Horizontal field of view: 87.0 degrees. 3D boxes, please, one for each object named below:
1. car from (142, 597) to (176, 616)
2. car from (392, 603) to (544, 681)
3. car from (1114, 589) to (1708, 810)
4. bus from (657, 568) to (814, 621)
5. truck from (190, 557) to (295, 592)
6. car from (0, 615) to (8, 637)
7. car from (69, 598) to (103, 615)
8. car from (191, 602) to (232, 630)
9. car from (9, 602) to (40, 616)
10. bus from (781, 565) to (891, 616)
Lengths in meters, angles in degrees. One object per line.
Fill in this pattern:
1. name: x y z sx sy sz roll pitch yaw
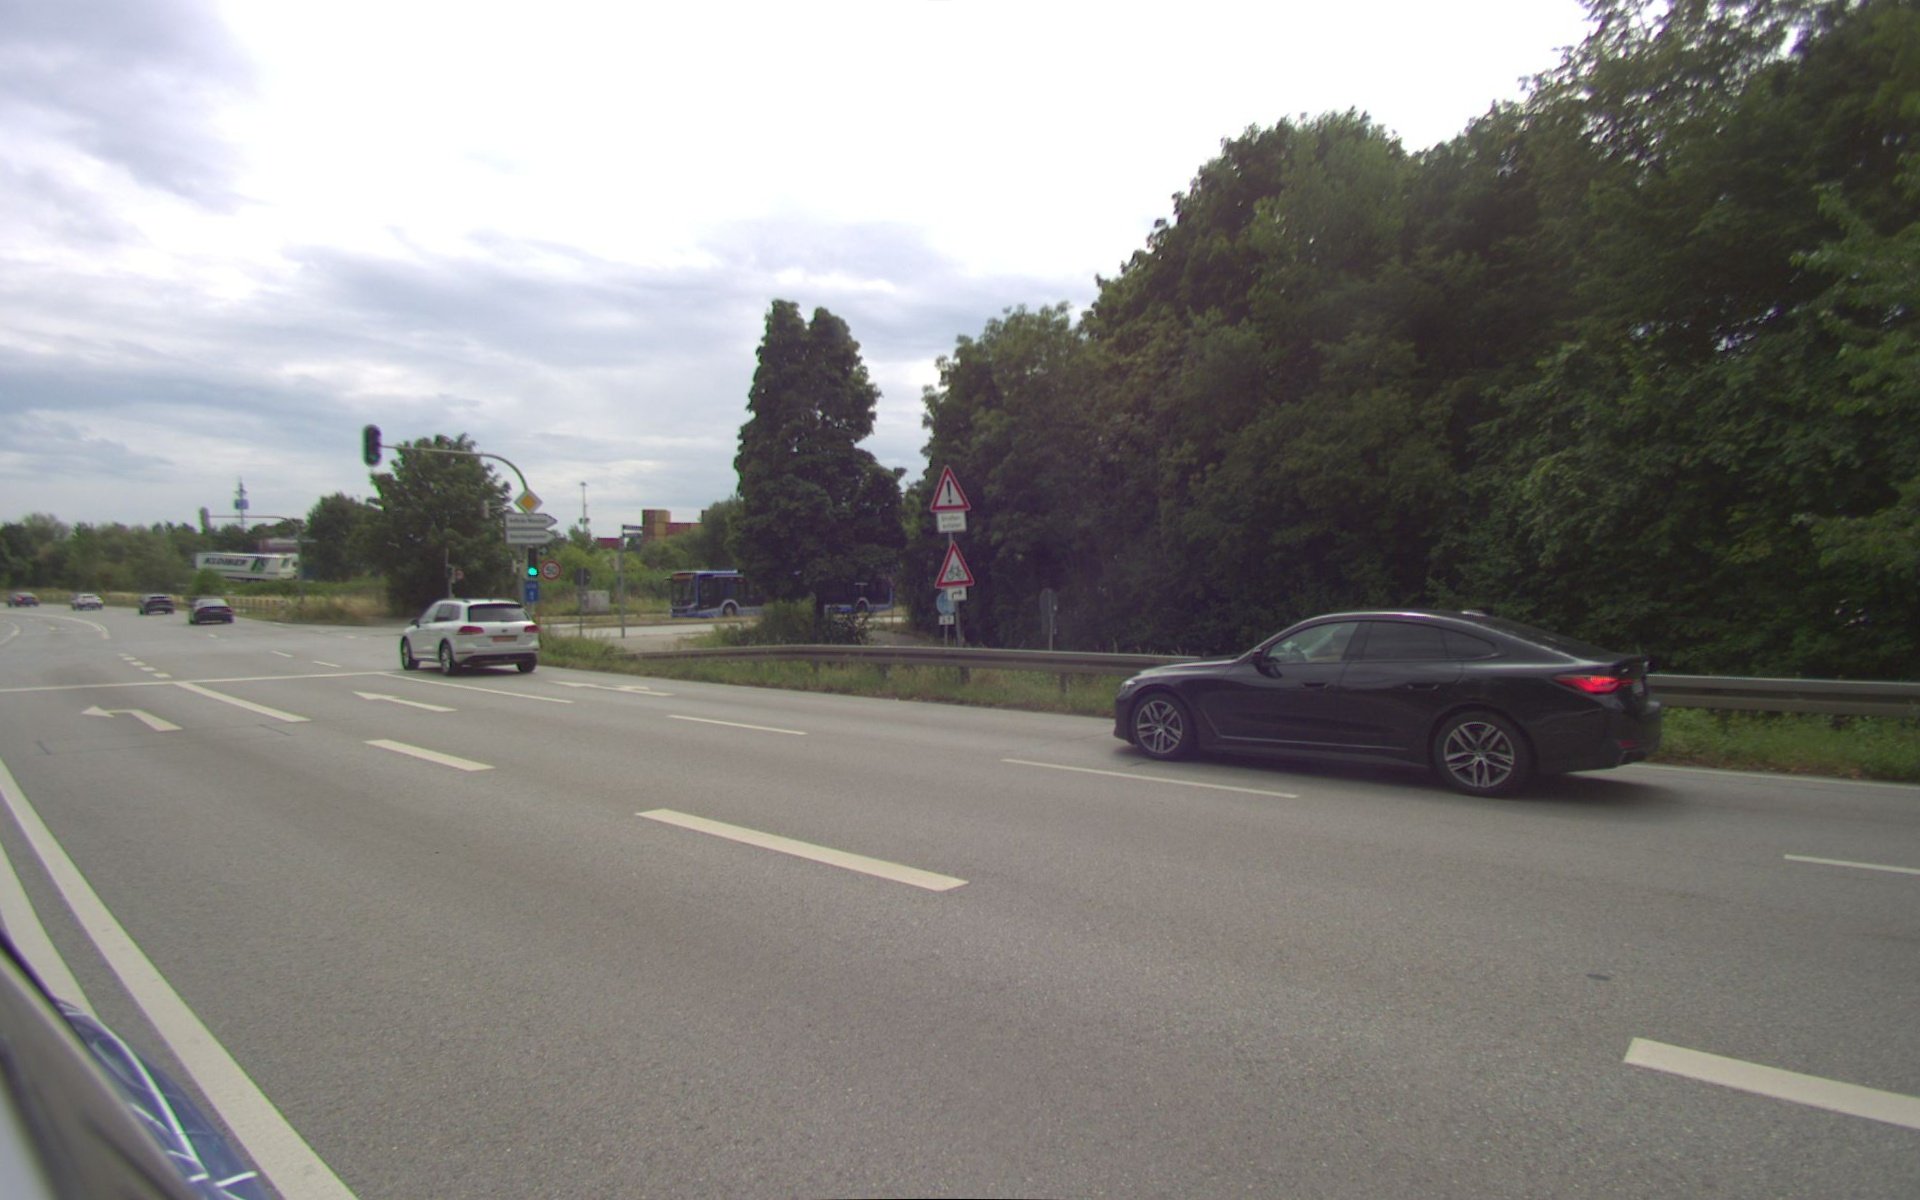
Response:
1. car: -62.714 0.507 79.207 1.720 1.395 4.004 -4 3 -43
2. car: -11.657 0.933 23.792 1.836 1.656 4.740 0 -1 -44
3. car: 3.790 0.732 9.046 4.544 1.509 1.700 -2 -1 40
4. bus: -13.752 -0.377 63.132 3.116 3.069 9.948 -1 1 37
5. truck: -104.851 -3.752 147.886 14.049 4.357 3.354 3 1 9
6. car: -60.969 1.650 63.499 1.719 1.335 4.004 2 -2 -42
7. car: -83.098 0.565 96.181 3.996 1.497 1.723 0 3 40
8. car: -42.881 0.878 57.965 1.718 1.497 4.208 -1 1 -39
9. car: -100.723 0.942 108.937 3.994 1.395 1.724 1 3 38
10. bus: -8.474 -0.668 70.247 3.116 3.372 7.728 -1 1 37
